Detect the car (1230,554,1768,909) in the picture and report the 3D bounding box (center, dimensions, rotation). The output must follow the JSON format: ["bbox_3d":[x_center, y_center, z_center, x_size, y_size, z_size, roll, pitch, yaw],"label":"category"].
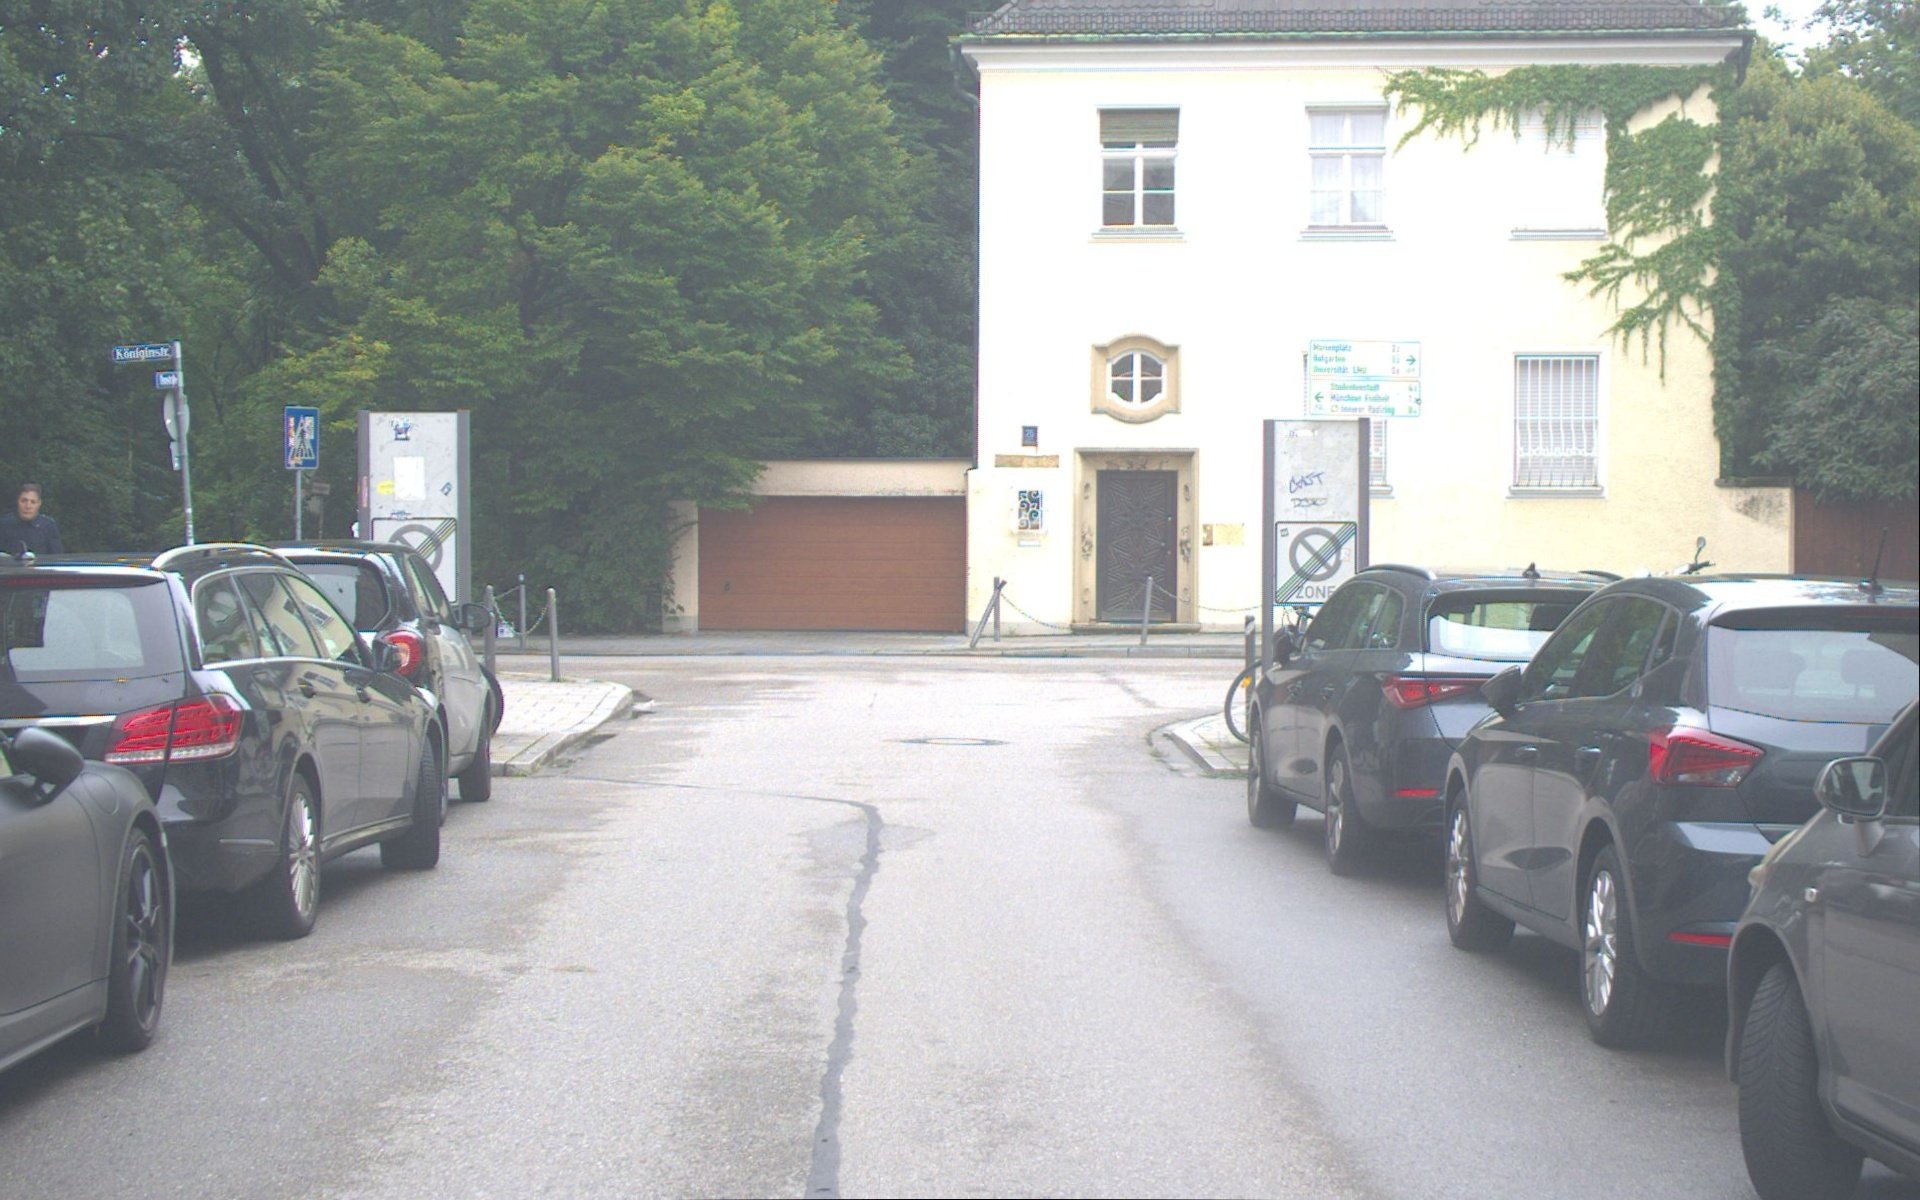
[{"bbox_3d":[2.483,0.532,16.970,1.692,1.466,4.612,1,1,-3],"label":"car"}]

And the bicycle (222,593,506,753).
[{"bbox_3d":[-4.001,0.484,23.144,1.802,1.011,0.540,1,1,-2],"label":"bicycle"}]

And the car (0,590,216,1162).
[{"bbox_3d":[-3.189,0.679,8.644,1.755,1.326,4.097,0,1,0],"label":"car"}]

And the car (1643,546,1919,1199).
[{"bbox_3d":[2.670,0.683,6.588,1.633,1.531,3.856,1,1,-5],"label":"car"}]

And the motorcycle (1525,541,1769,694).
[{"bbox_3d":[6.280,0.149,31.407,2.077,1.351,0.817,0,1,-24],"label":"motorcycle"}]

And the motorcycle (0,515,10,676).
[{"bbox_3d":[-8.883,-0.031,29.882,0.736,1.436,2.147,1,1,-2],"label":"motorcycle"}]

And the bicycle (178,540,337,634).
[{"bbox_3d":[-7.863,-0.156,38.448,2.006,1.006,0.511,1,1,36],"label":"bicycle"}]

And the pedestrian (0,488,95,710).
[{"bbox_3d":[-7.613,-0.020,28.045,0.839,1.781,0.936,1,1,2],"label":"pedestrian"}]

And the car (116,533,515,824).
[{"bbox_3d":[-3.548,0.382,19.388,1.704,1.510,2.911,0,1,0],"label":"car"}]

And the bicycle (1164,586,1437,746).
[{"bbox_3d":[2.424,0.457,24.510,1.794,1.082,0.665,0,3,26],"label":"bicycle"}]

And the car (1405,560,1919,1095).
[{"bbox_3d":[2.677,0.626,11.641,1.633,1.466,3.856,1,1,-3],"label":"car"}]

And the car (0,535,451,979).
[{"bbox_3d":[-3.329,0.500,14.226,1.755,1.510,4.708,0,1,0],"label":"car"}]
